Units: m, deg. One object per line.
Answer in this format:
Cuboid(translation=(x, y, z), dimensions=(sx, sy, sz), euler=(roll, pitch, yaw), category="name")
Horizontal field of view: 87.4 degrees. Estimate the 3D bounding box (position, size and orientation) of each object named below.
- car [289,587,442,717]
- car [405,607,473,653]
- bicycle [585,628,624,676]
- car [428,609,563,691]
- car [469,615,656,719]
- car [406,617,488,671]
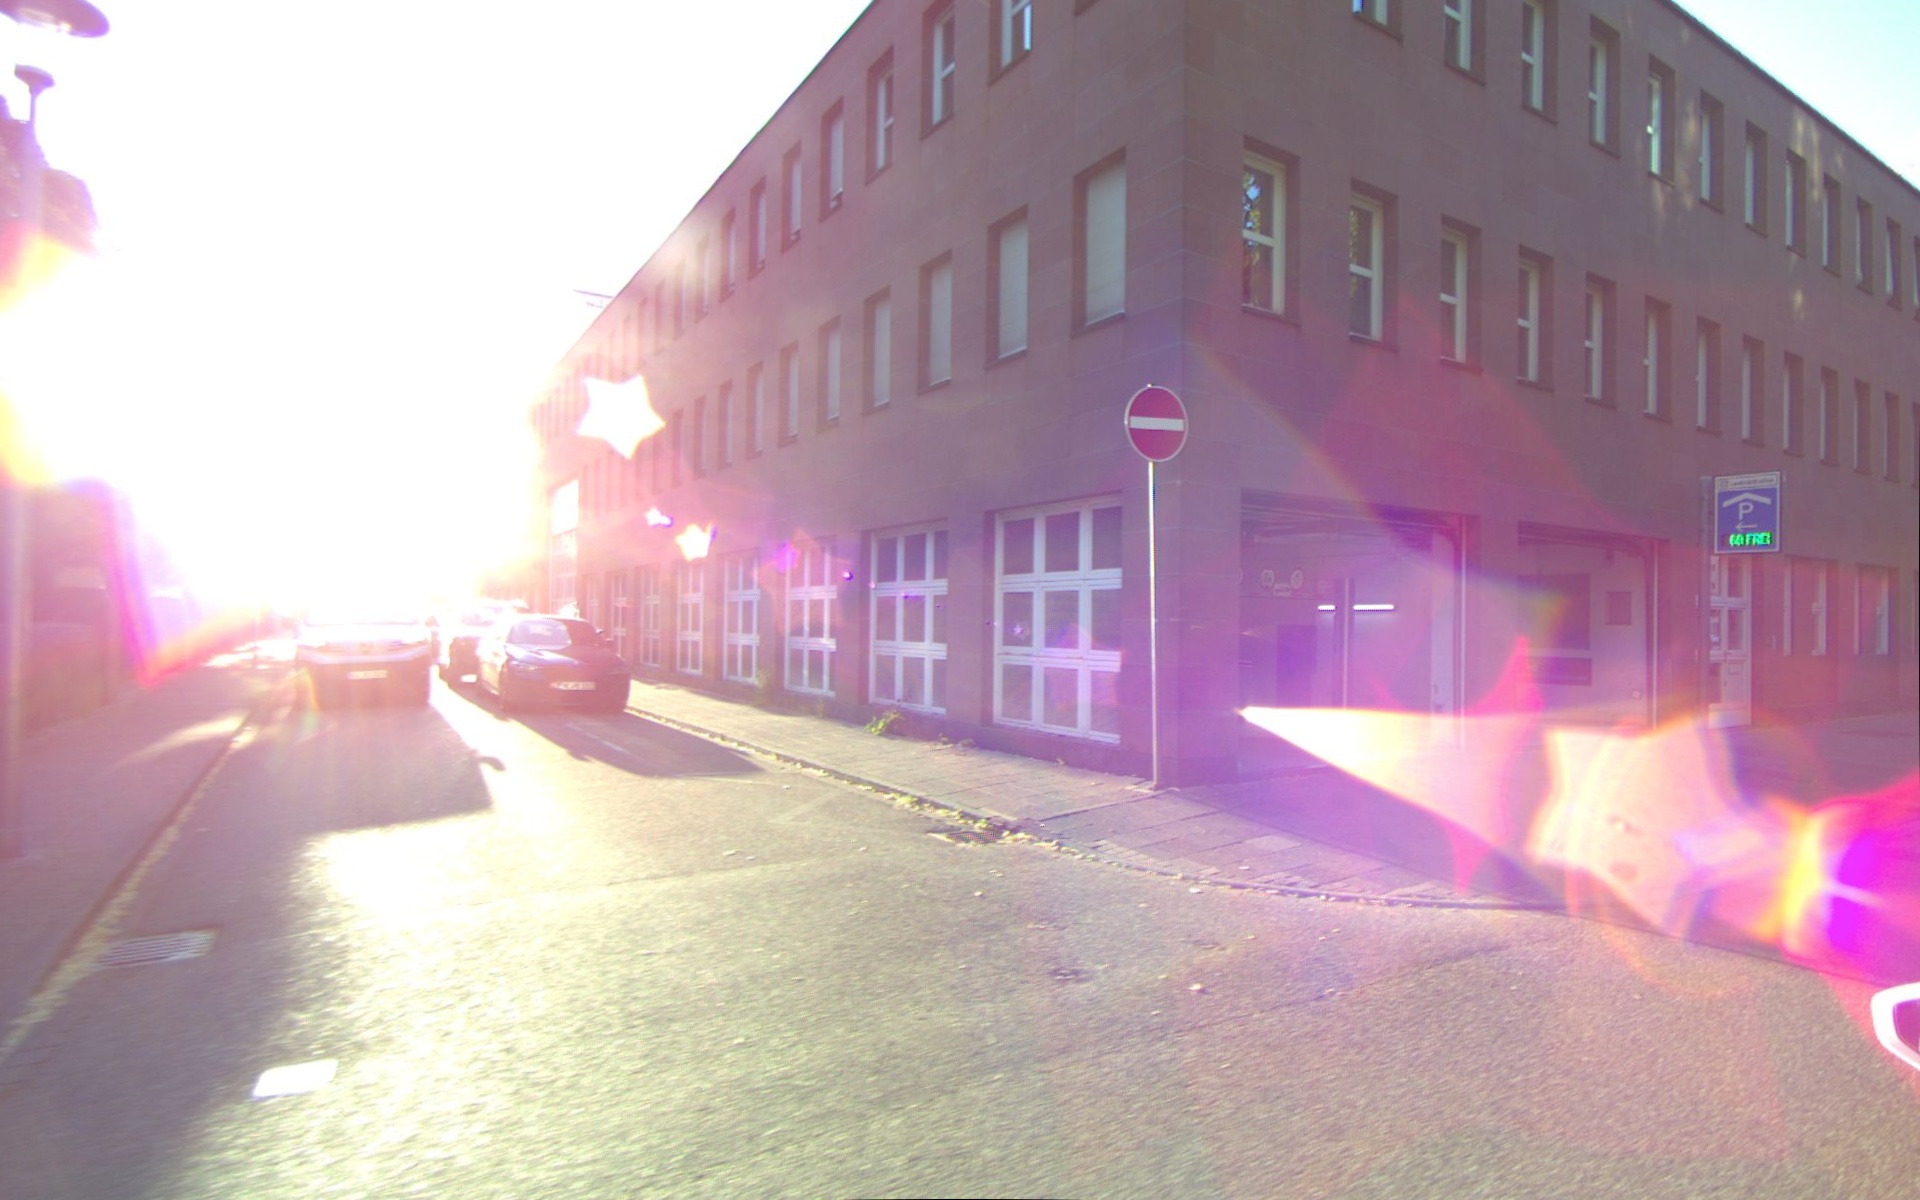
Cuboid(translation=(-10.288, 0.768, 17.362), dimensions=(1.978, 1.900, 5.064), euler=(-1, 0, -32), category="car")
Cuboid(translation=(-19.753, 1.092, 37.980), dimensions=(1.977, 1.582, 5.067), euler=(4, -2, -30), category="car")
Cuboid(translation=(-8.784, 1.258, 24.783), dimensions=(0.492, 1.078, 1.859), euler=(1, 0, -32), category="bicycle")
Cuboid(translation=(-10.190, 1.025, 21.818), dimensions=(1.979, 1.528, 5.063), euler=(4, -2, -32), category="car")
Cuboid(translation=(-6.905, 1.048, 17.068), dimensions=(1.979, 1.430, 5.062), euler=(4, -2, -33), category="car")
Cuboid(translation=(-16.932, 1.396, 33.021), dimensions=(1.978, 1.528, 5.065), euler=(4, -2, -31), category="car")
